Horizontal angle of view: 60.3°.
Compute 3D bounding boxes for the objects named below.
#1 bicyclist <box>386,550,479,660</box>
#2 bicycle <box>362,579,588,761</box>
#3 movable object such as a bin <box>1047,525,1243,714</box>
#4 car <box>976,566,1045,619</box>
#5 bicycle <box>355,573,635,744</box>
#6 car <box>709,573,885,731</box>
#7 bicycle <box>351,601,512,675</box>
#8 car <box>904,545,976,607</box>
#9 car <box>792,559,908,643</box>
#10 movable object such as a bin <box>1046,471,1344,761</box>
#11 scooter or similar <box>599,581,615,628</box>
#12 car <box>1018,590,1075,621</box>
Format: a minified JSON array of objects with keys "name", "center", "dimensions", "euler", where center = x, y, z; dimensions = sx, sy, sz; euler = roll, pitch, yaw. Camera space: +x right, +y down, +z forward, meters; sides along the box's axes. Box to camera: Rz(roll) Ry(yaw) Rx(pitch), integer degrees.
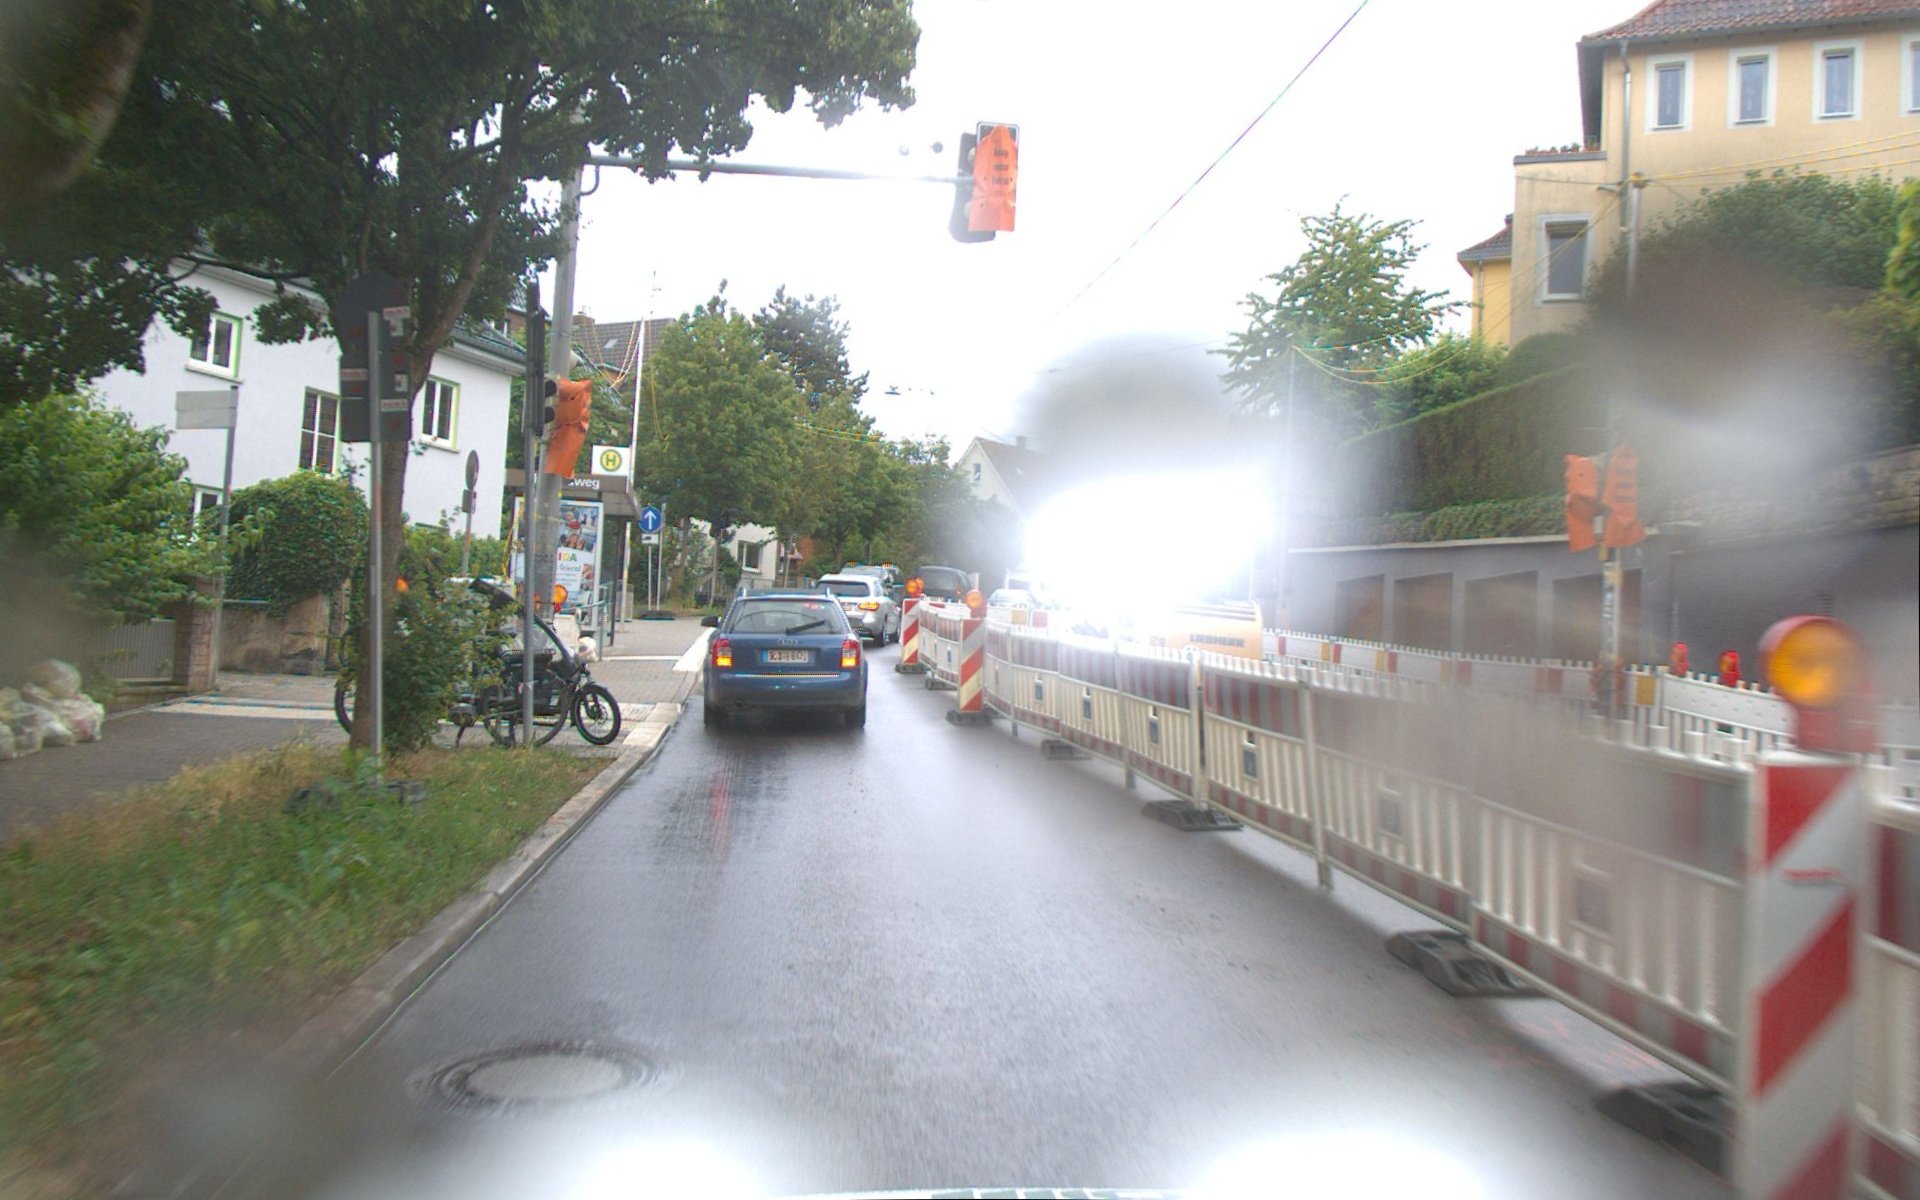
[{"name":"bicyclist","center":[-7.264,0.064,22.841],"dimensions":[0.887,1.464,1.097],"euler":[1,0,1]},{"name":"bicycle","center":[-3.915,0.571,13.440],"dimensions":[1.661,1.368,0.418],"euler":[3,1,-13]},{"name":"movable object such as a bin","center":[3.078,0.245,28.970],"dimensions":[2.047,2.887,5.669],"euler":[3,1,-7]},{"name":"car","center":[1.927,-0.252,61.662],"dimensions":[1.697,1.799,4.238],"euler":[4,0,12]},{"name":"bicycle","center":[-3.901,0.492,14.034],"dimensions":[2.191,1.385,0.806],"euler":[1,0,-14]},{"name":"car","center":[-1.909,0.489,18.421],"dimensions":[1.701,1.492,3.992],"euler":[0,2,-9]},{"name":"bicycle","center":[-7.267,0.513,22.837],"dimensions":[1.832,0.948,1.097],"euler":[1,0,1]},{"name":"car","center":[-0.573,-0.767,50.790],"dimensions":[1.697,1.799,4.239],"euler":[1,2,6]},{"name":"car","center":[-2.320,-0.037,36.007],"dimensions":[1.934,1.663,4.238],"euler":[1,2,4]},{"name":"movable object such as a bin","center":[2.579,0.235,19.795],"dimensions":[2.047,2.888,5.667],"euler":[3,-2,-7]},{"name":"scooter or similar","center":[-8.323,0.099,39.005],"dimensions":[0.318,1.099,1.093],"euler":[1,1,-9]},{"name":"car","center":[4.492,0.286,85.550],"dimensions":[1.636,1.492,3.892],"euler":[1,-1,24]}]
